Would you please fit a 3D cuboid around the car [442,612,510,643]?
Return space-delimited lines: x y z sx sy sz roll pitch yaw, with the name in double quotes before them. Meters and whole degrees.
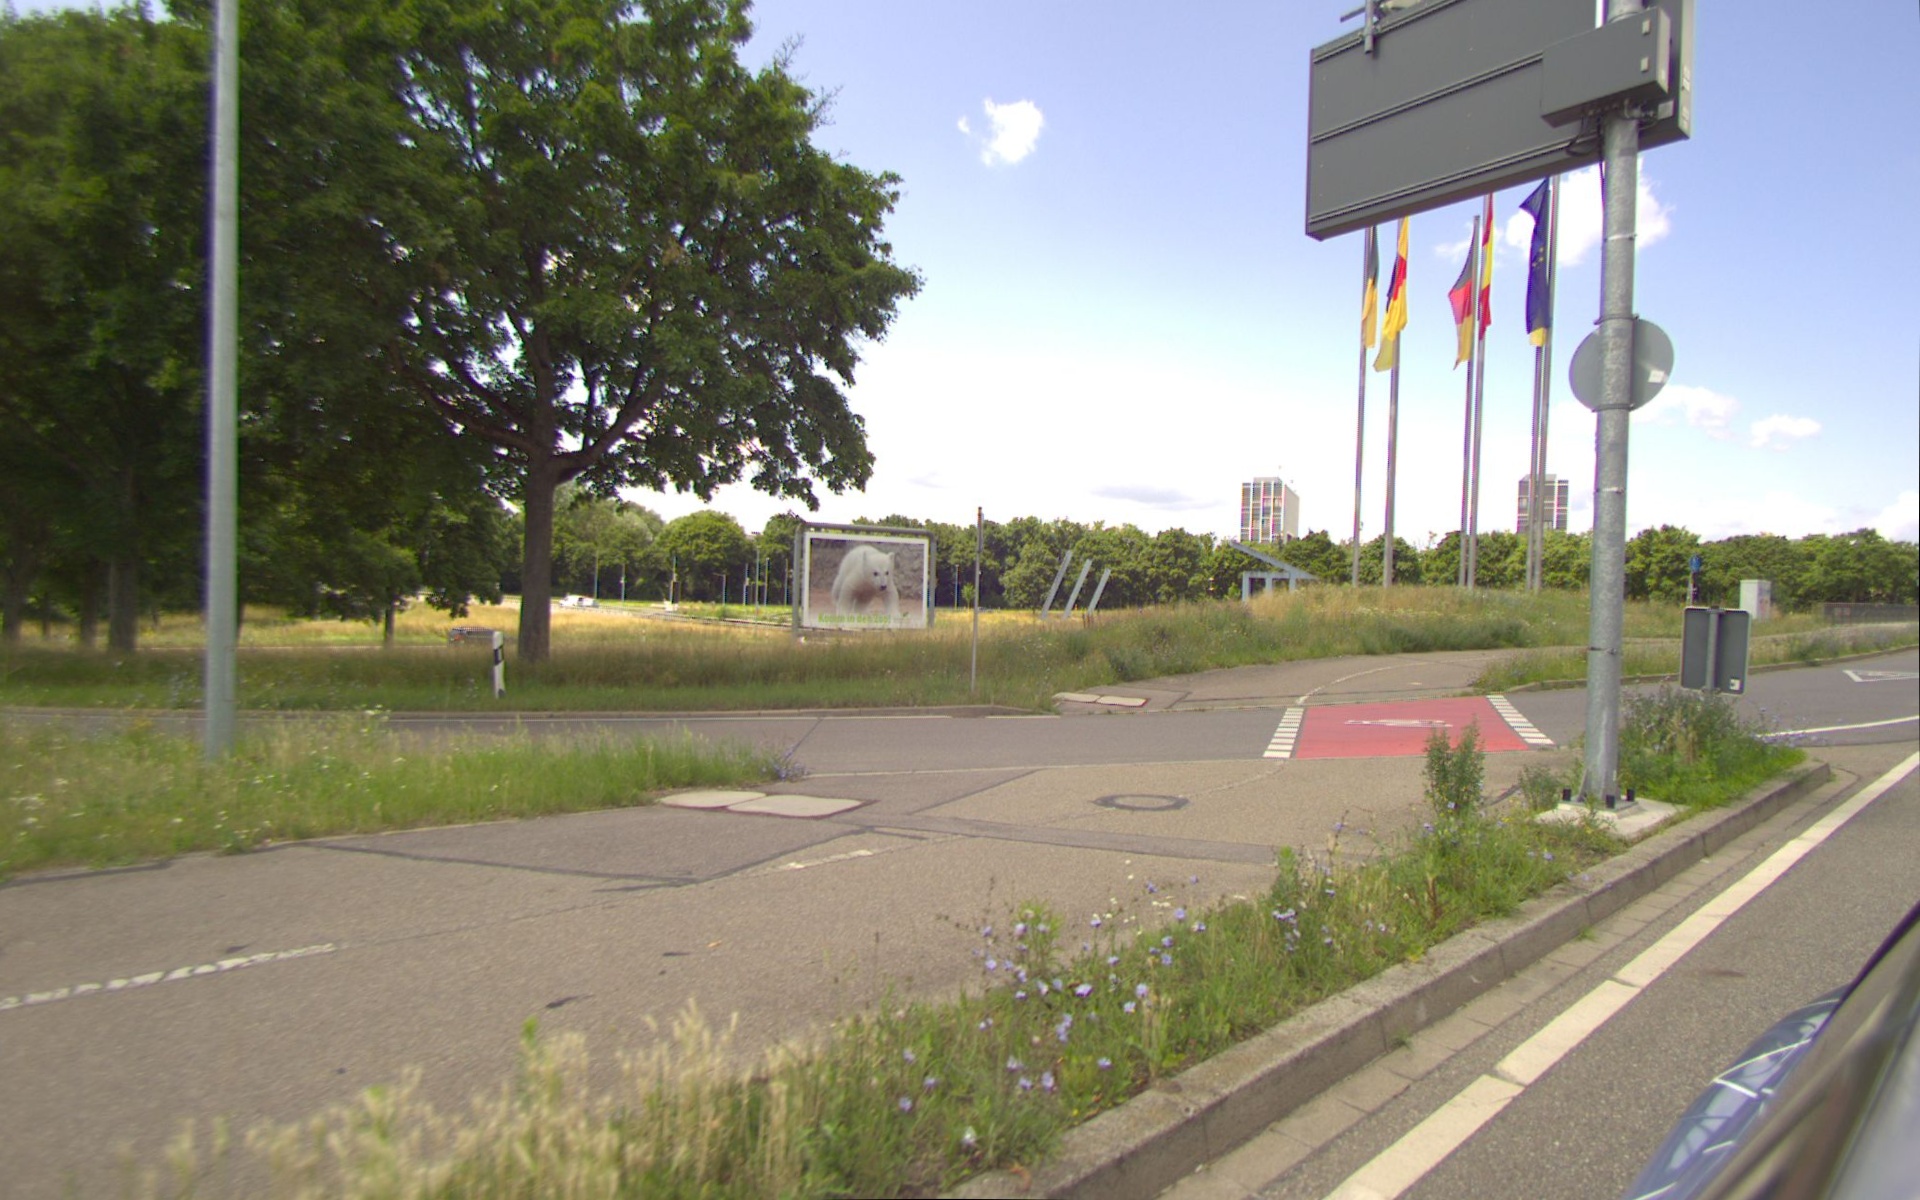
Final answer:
"car" -34.373 1.927 71.937 1.987 2.039 3.949 0 -1 35
